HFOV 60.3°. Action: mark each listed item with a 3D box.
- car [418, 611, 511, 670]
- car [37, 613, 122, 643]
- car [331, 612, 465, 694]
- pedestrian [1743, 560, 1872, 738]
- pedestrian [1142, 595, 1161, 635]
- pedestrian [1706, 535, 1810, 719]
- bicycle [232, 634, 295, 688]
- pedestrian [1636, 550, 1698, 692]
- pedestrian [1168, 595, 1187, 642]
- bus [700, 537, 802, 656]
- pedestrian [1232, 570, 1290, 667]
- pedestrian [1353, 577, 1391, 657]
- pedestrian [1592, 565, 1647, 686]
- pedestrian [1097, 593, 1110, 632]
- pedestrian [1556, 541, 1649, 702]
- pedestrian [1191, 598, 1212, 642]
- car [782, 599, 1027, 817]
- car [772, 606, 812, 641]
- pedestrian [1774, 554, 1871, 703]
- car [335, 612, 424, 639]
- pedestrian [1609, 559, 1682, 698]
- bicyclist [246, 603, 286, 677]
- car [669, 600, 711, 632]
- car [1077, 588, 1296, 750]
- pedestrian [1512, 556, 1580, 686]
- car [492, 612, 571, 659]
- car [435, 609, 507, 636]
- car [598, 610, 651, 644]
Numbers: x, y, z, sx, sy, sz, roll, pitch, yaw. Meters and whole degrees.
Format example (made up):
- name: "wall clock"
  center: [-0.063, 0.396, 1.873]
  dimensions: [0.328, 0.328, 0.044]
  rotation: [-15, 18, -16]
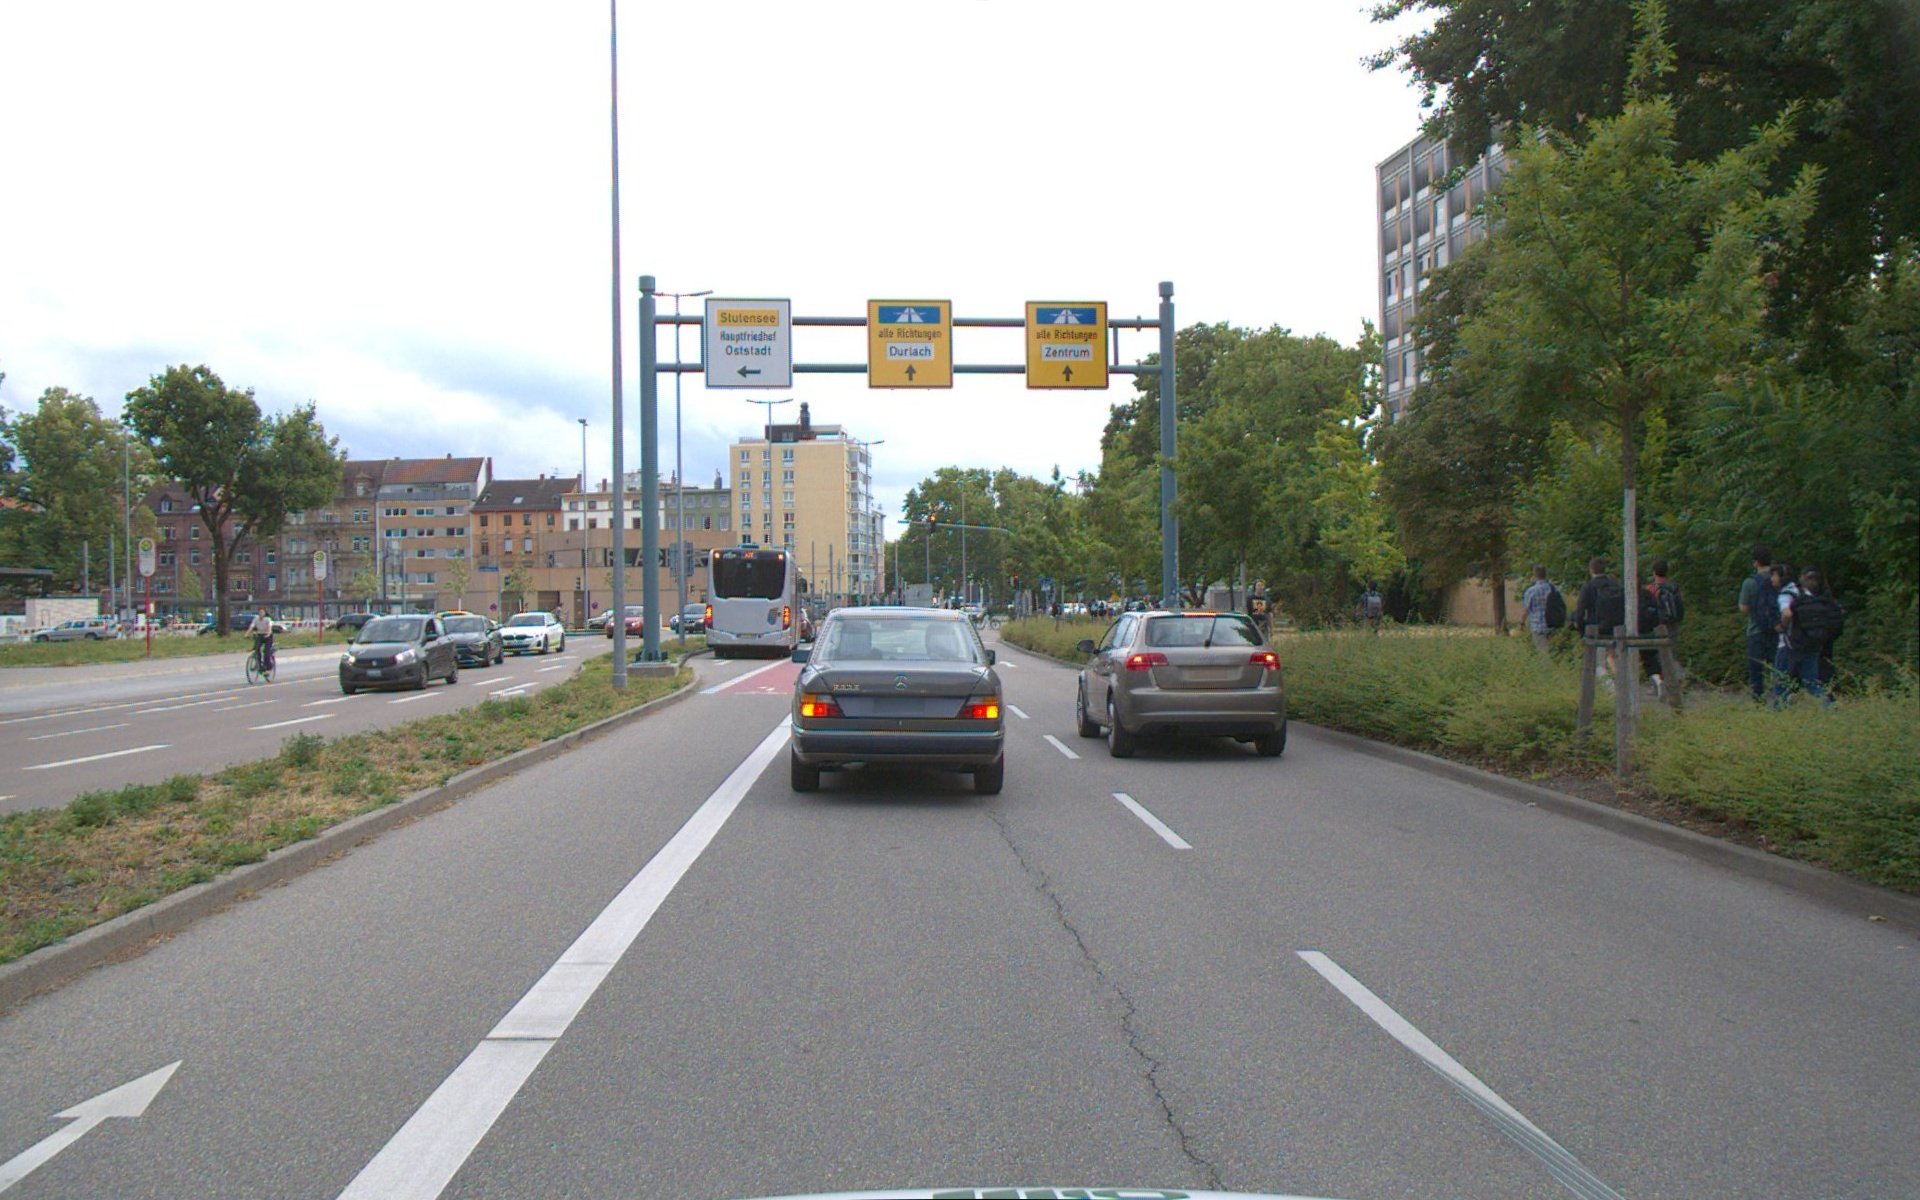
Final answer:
- name: "car"
  center: [-13.847, 1.102, 46.478]
  dimensions: [1.767, 1.515, 4.398]
  rotation: [-1, 0, -7]
- name: "car"
  center: [-52.617, 1.666, 98.884]
  dimensions: [4.077, 1.678, 1.643]
  rotation: [-1, 0, -9]
- name: "car"
  center: [-11.381, 1.033, 33.732]
  dimensions: [1.540, 1.515, 3.635]
  rotation: [-1, 0, -1]
- name: "pedestrian"
  center: [8.037, 0.454, 15.713]
  dimensions: [0.760, 1.630, 0.812]
  rotation: [-1, 0, -3]
- name: "pedestrian"
  center: [8.400, 0.665, 72.556]
  dimensions: [0.784, 1.743, 0.765]
  rotation: [-1, 0, 10]
- name: "pedestrian"
  center: [8.300, 0.277, 17.231]
  dimensions: [0.643, 1.853, 0.812]
  rotation: [-1, 0, -3]
- name: "bicycle"
  center: [-17.110, 1.484, 40.698]
  dimensions: [0.605, 1.238, 2.045]
  rotation: [-1, 0, 2]
- name: "pedestrian"
  center: [9.142, 0.268, 21.401]
  dimensions: [0.474, 1.794, 0.663]
  rotation: [-1, 0, -3]
- name: "pedestrian"
  center: [8.191, 0.676, 62.180]
  dimensions: [0.632, 1.743, 0.562]
  rotation: [-1, 0, 12]
- name: "bus"
  center: [-6.515, -0.103, 52.476]
  dimensions: [2.776, 3.450, 8.175]
  rotation: [-1, 0, -5]
- name: "pedestrian"
  center: [5.914, 0.361, 32.474]
  dimensions: [0.915, 1.862, 0.886]
  rotation: [-1, 0, 24]
- name: "pedestrian"
  center: [8.919, 0.360, 35.827]
  dimensions: [0.575, 1.712, 0.748]
  rotation: [-1, 0, -3]
- name: "pedestrian"
  center: [9.270, 0.357, 23.254]
  dimensions: [0.458, 1.662, 0.653]
  rotation: [-1, 0, -3]
- name: "pedestrian"
  center: [7.557, 0.670, 87.225]
  dimensions: [0.602, 2.049, 0.597]
  rotation: [-1, 0, -4]
- name: "pedestrian"
  center: [7.652, 0.250, 19.731]
  dimensions: [0.679, 1.853, 0.954]
  rotation: [-1, 0, -3]
- name: "pedestrian"
  center: [8.360, 0.678, 57.192]
  dimensions: [0.643, 1.496, 0.562]
  rotation: [-1, 0, 14]
- name: "car"
  center: [-0.560, 0.766, 13.877]
  dimensions: [1.727, 1.515, 4.167]
  rotation: [-1, 0, -5]
- name: "car"
  center: [-7.238, 0.998, 71.399]
  dimensions: [1.623, 1.421, 3.856]
  rotation: [-1, 1, -5]
- name: "pedestrian"
  center: [9.603, 0.312, 18.446]
  dimensions: [0.623, 1.611, 0.785]
  rotation: [-1, 0, -3]
- name: "car"
  center: [-33.676, 1.487, 95.990]
  dimensions: [4.581, 1.501, 1.657]
  rotation: [1, 0, -8]
- name: "pedestrian"
  center: [8.528, 0.351, 20.605]
  dimensions: [0.544, 1.684, 0.753]
  rotation: [-1, 0, -3]
- name: "bicyclist"
  center: [-17.121, 0.975, 40.810]
  dimensions: [0.605, 1.813, 0.811]
  rotation: [-1, 0, 2]
- name: "car"
  center: [-15.144, 0.873, 92.909]
  dimensions: [1.766, 1.694, 4.297]
  rotation: [-3, 0, -3]
- name: "car"
  center: [2.258, 0.646, 17.386]
  dimensions: [1.689, 1.483, 3.735]
  rotation: [-1, 0, -1]
- name: "pedestrian"
  center: [8.192, 0.290, 23.149]
  dimensions: [0.606, 1.766, 0.814]
  rotation: [-1, 0, -3]
- name: "car"
  center: [-15.066, 1.217, 58.349]
  dimensions: [1.765, 1.515, 4.414]
  rotation: [-1, 0, -2]
- name: "car"
  center: [-28.648, 1.336, 96.941]
  dimensions: [3.784, 1.544, 1.657]
  rotation: [0, 0, -8]
- name: "car"
  center: [-15.837, 1.267, 78.283]
  dimensions: [1.765, 1.515, 4.287]
  rotation: [-1, 0, -2]
